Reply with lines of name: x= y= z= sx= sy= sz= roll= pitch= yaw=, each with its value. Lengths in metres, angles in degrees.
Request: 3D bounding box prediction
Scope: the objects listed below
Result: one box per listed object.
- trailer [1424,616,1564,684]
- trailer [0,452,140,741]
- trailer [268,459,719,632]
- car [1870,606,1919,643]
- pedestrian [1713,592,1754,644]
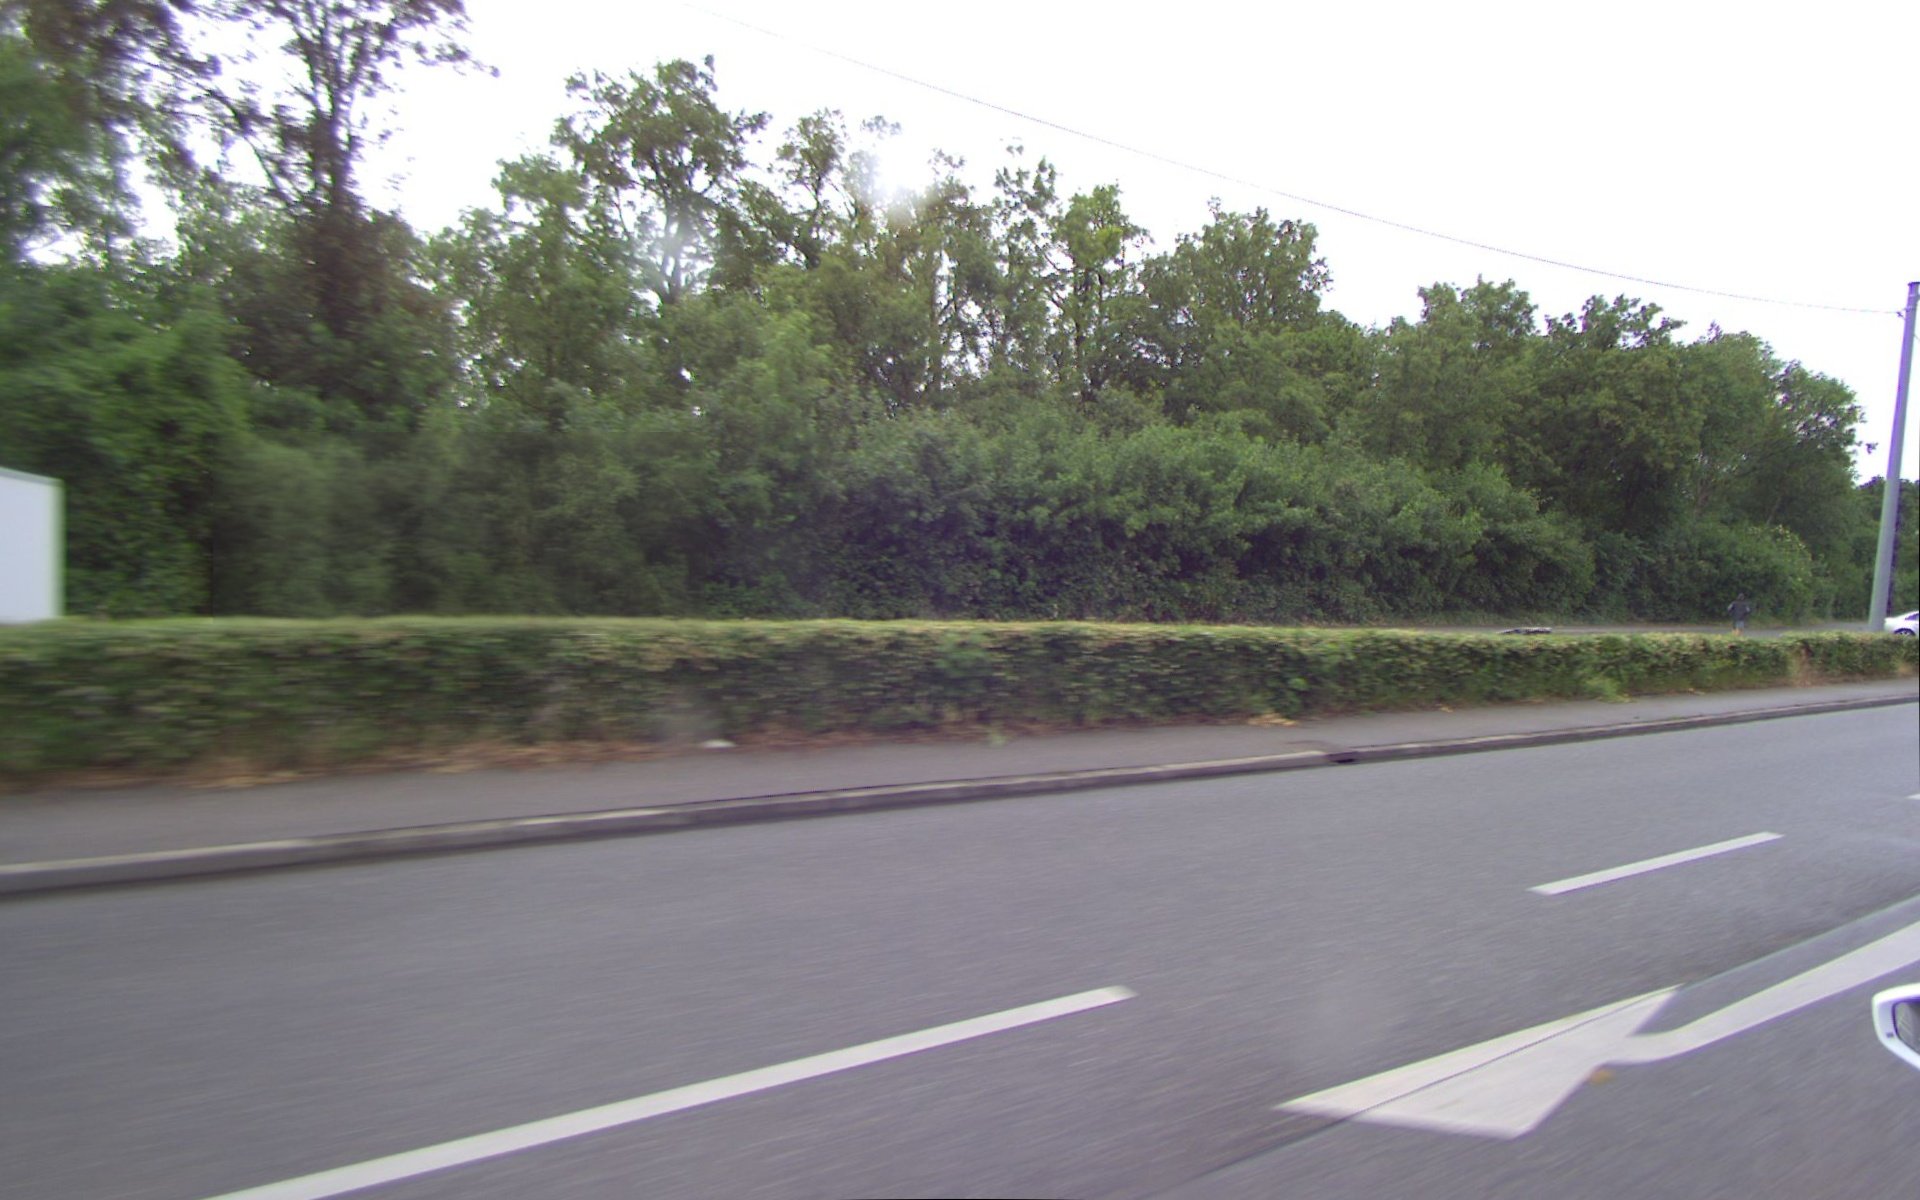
trailer: x=9.516 y=0.855 z=17.933 sx=1.321 sy=1.048 sz=1.788 roll=1 pitch=1 yaw=-36
trailer: x=-8.609 y=-0.089 z=8.521 sx=1.850 sy=2.080 sz=3.968 roll=1 pitch=1 yaw=-29
trailer: x=-9.143 y=-0.891 z=20.361 sx=7.892 sy=2.912 sz=2.461 roll=2 pitch=1 yaw=-33
car: x=42.182 y=1.122 z=43.060 sx=1.987 sy=1.526 sz=4.529 roll=1 pitch=2 yaw=-44
pedestrian: x=27.810 y=0.641 z=36.100 sx=1.124 sy=1.822 sz=0.812 roll=1 pitch=2 yaw=-35
